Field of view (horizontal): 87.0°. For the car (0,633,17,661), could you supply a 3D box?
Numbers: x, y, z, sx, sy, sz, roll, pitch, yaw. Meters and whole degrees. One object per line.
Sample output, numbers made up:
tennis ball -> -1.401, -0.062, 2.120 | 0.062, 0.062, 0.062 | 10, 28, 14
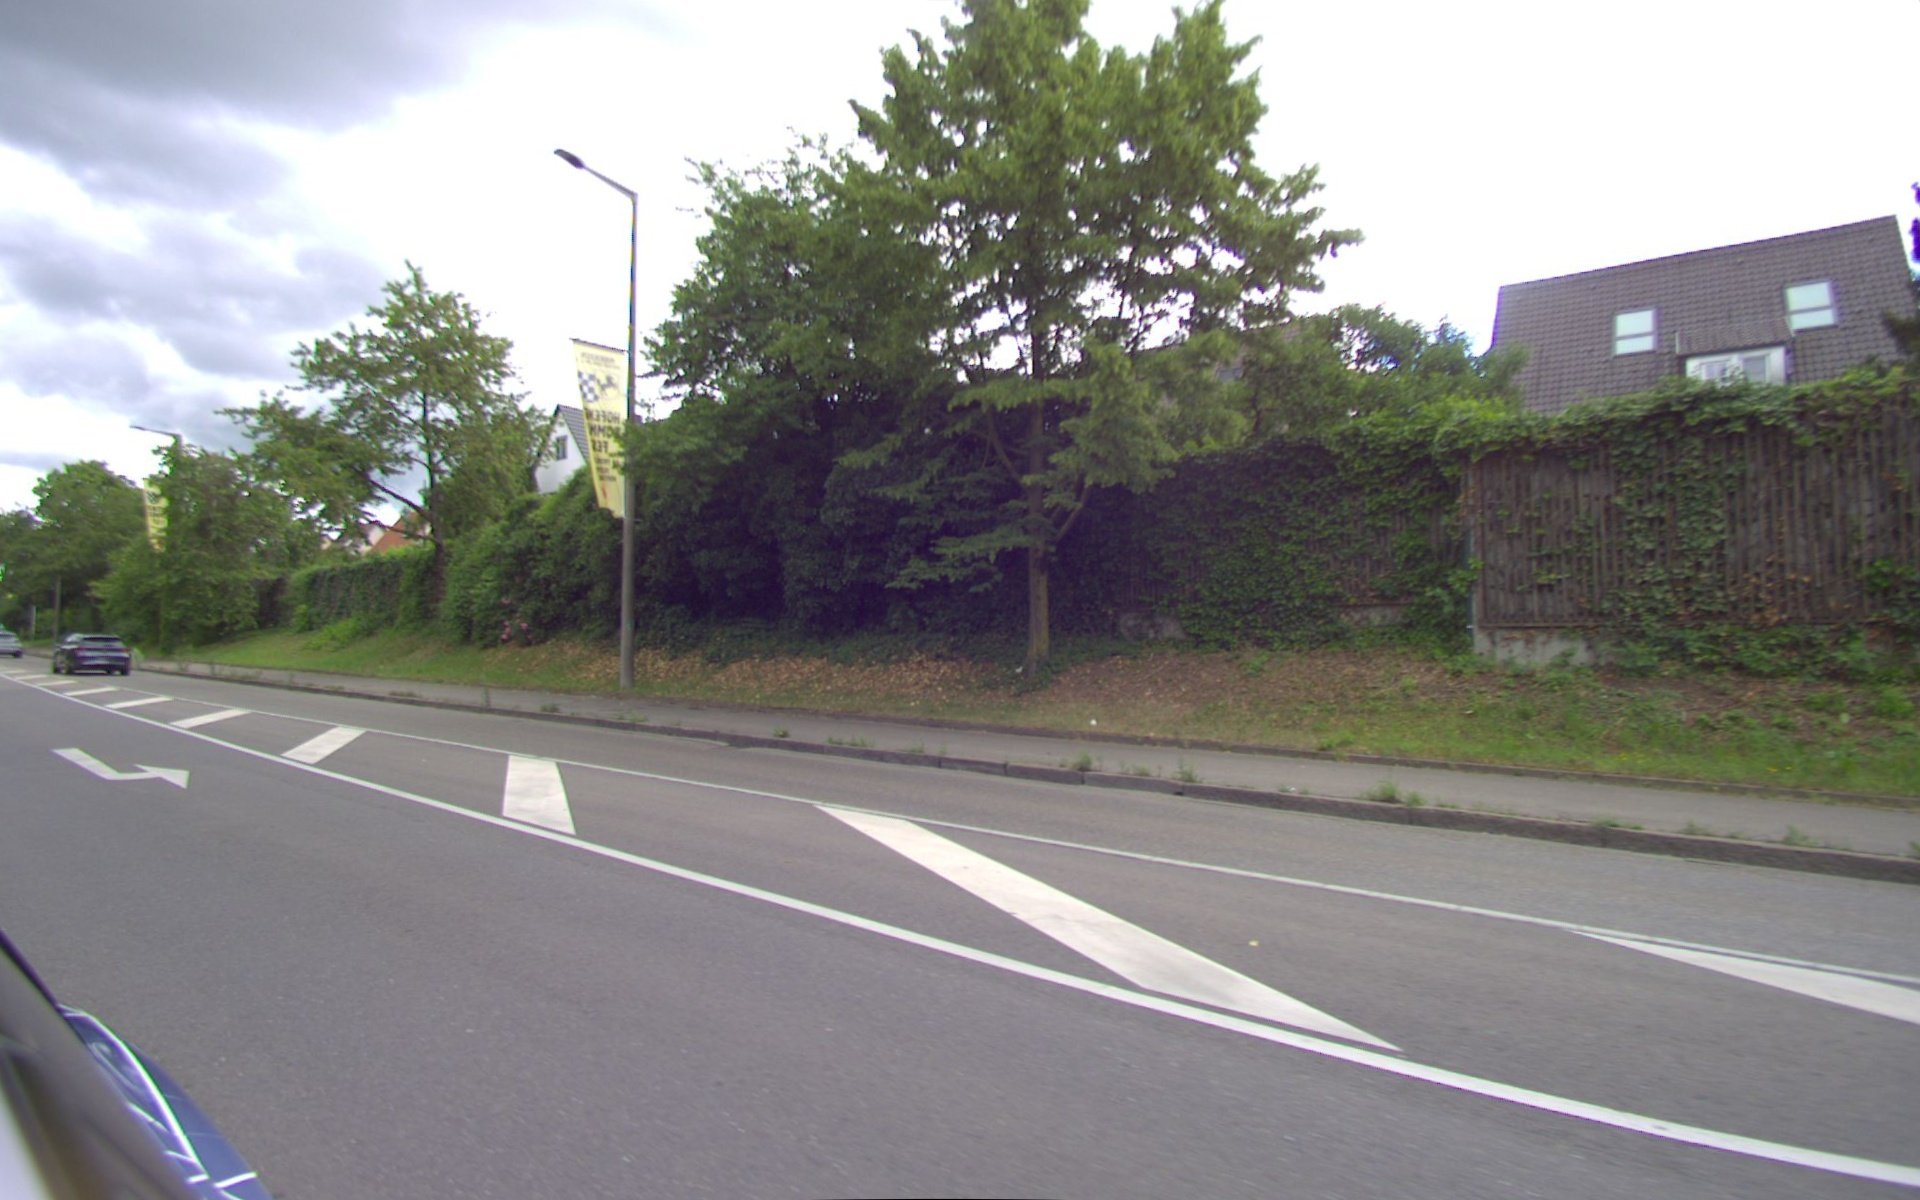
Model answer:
car -> -56.991, 2.762, 59.568 | 3.927, 1.540, 1.784 | -1, -1, 41

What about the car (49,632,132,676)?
car -> -30.768, 1.883, 35.777 | 4.006, 1.433, 1.636 | -1, -4, 41
